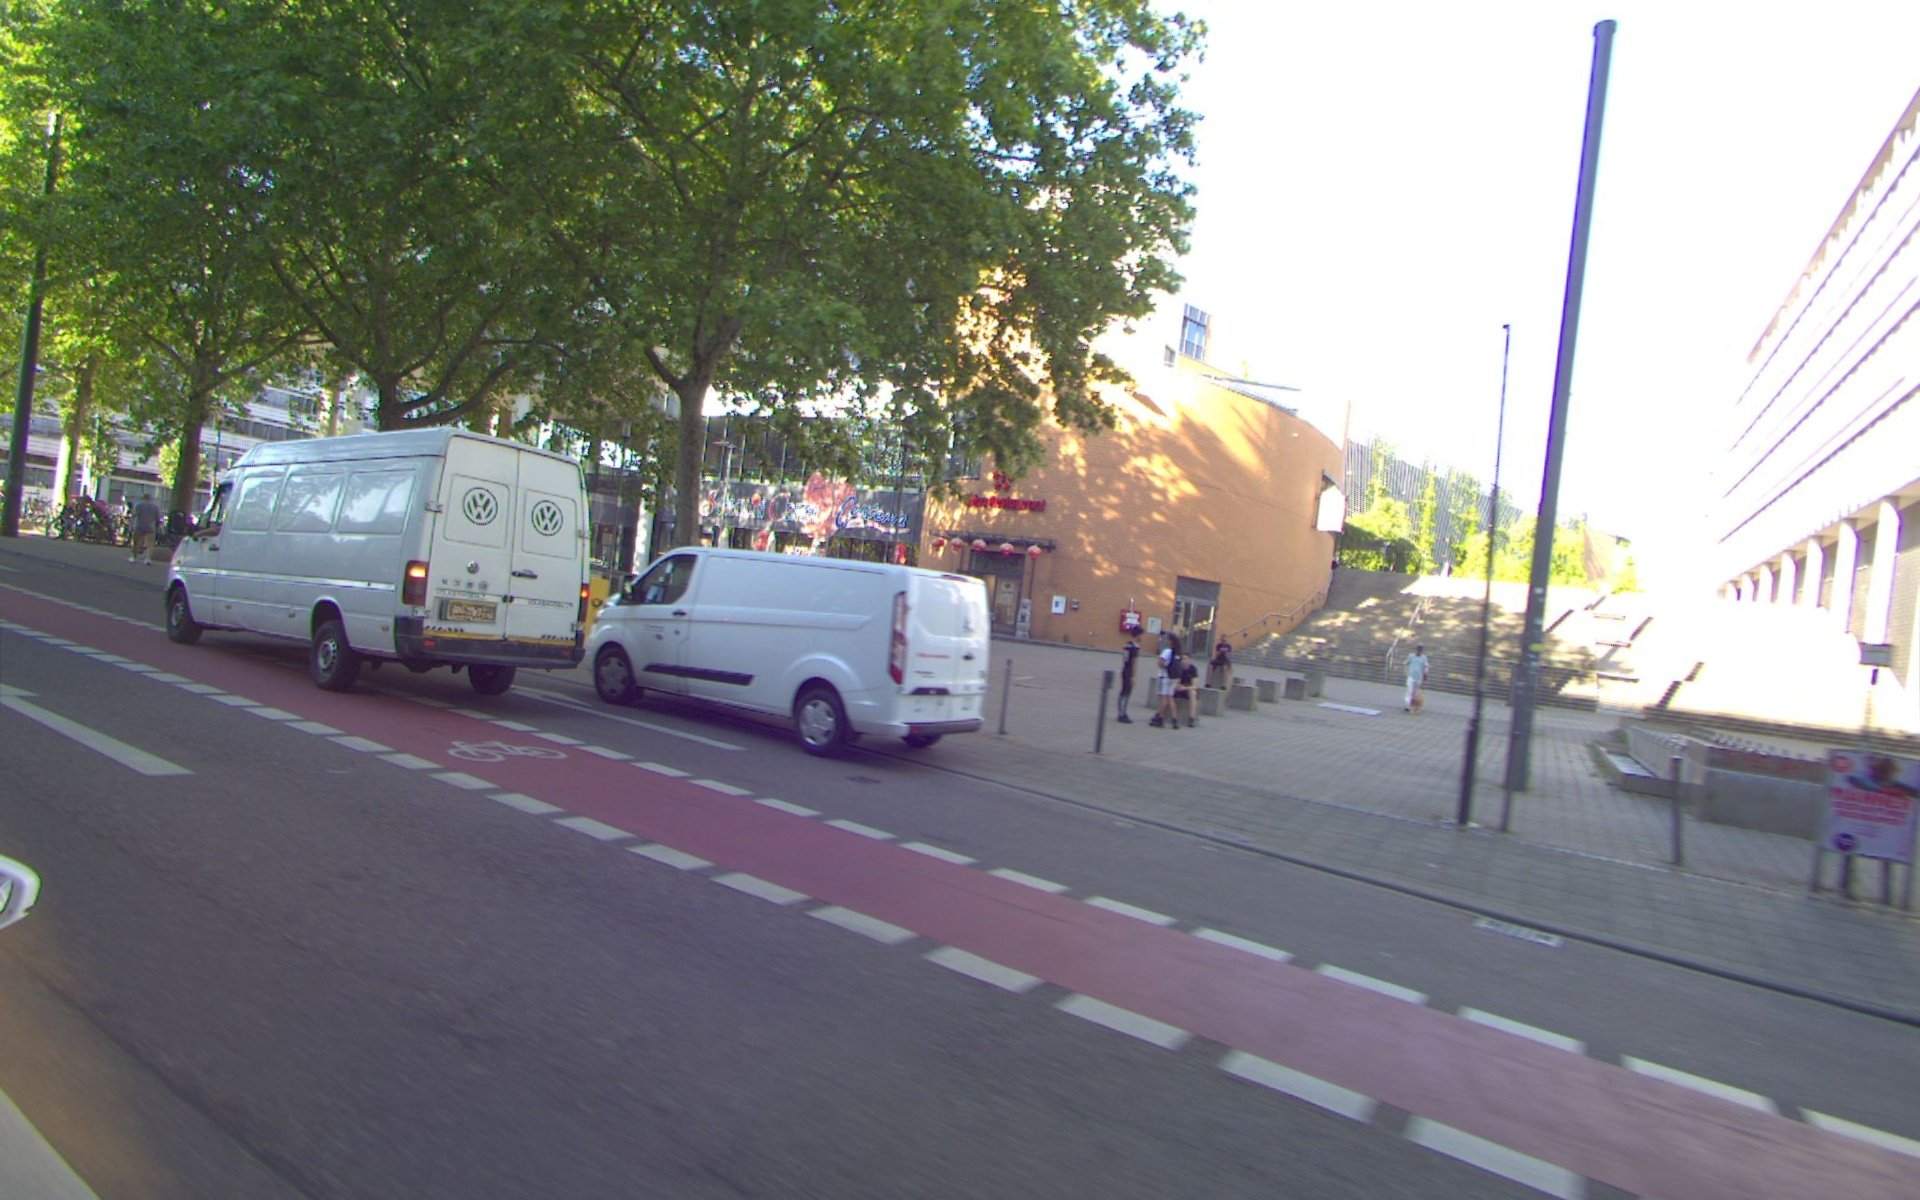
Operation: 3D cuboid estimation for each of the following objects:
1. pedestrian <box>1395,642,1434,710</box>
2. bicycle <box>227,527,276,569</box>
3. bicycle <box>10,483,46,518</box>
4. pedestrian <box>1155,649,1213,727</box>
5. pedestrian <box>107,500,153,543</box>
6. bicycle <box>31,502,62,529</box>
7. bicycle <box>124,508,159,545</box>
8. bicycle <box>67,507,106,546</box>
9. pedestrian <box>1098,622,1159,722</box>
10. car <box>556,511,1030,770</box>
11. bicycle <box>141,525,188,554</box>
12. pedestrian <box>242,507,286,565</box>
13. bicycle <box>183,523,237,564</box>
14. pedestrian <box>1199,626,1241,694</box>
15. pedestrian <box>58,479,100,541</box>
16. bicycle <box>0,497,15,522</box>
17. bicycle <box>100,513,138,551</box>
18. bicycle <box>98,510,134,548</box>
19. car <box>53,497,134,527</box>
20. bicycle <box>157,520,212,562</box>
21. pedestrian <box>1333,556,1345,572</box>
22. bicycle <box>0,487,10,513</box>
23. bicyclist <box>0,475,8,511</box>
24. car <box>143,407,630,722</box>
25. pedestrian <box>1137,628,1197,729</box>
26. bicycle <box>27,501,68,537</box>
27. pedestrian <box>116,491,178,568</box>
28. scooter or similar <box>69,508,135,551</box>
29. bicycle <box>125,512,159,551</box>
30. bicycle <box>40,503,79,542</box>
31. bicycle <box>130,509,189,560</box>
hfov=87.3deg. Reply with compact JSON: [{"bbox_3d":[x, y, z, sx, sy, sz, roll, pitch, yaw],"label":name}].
[{"bbox_3d":[12.002,1.999,26.572,0.711,1.697,0.539,7,1,31],"label":"pedestrian"},{"bbox_3d":[-22.305,-1.635,31.658,1.626,1.151,0.503,7,1,28],"label":"bicycle"},{"bbox_3d":[-39.863,-4.254,43.022,1.854,1.303,0.451,7,1,27],"label":"bicycle"},{"bbox_3d":[3.894,1.524,17.462,0.666,1.236,0.614,7,1,35],"label":"pedestrian"},{"bbox_3d":[-40.865,-3.859,49.549,1.023,1.843,1.213,7,-1,23],"label":"pedestrian"},{"bbox_3d":[-39.568,-3.651,43.554,1.450,0.995,0.451,7,1,27],"label":"bicycle"},{"bbox_3d":[-29.760,-2.669,36.577,1.451,1.174,0.421,7,1,29],"label":"bicycle"},{"bbox_3d":[-27.514,-2.317,31.700,0.591,1.130,1.931,6,0,-34],"label":"bicycle"},{"bbox_3d":[2.800,1.194,16.725,0.628,1.562,0.576,8,1,38],"label":"pedestrian"},{"bbox_3d":[-2.077,0.333,11.698,5.204,2.160,2.125,7,0,33],"label":"car"},{"bbox_3d":[-25.411,-1.927,32.153,1.102,0.770,0.396,7,0,-34],"label":"bicycle"},{"bbox_3d":[-23.117,-2.125,33.404,0.758,1.779,0.818,7,1,30],"label":"pedestrian"},{"bbox_3d":[-22.793,-1.709,30.576,1.626,1.044,0.596,7,1,28],"label":"bicycle"},{"bbox_3d":[5.927,1.372,22.924,0.590,1.474,0.712,7,1,31],"label":"pedestrian"},{"bbox_3d":[-27.722,-2.821,31.658,0.801,1.808,0.651,6,1,-35],"label":"pedestrian"},{"bbox_3d":[-40.472,-3.849,42.362,1.450,0.995,0.451,7,1,27],"label":"bicycle"},{"bbox_3d":[-30.003,-2.433,35.894,1.450,1.174,0.421,7,1,27],"label":"bicycle"},{"bbox_3d":[-26.928,-2.269,32.113,0.591,1.130,1.809,6,0,-34],"label":"bicycle"},{"bbox_3d":[-65.667,-6.658,76.312,1.767,1.579,4.243,7,0,34],"label":"car"},{"bbox_3d":[-23.107,-1.753,29.970,1.626,1.044,0.596,7,1,28],"label":"bicycle"},{"bbox_3d":[21.808,-2.079,57.854,0.508,0.834,0.437,7,5,25],"label":"pedestrian"},{"bbox_3d":[-44.430,-4.674,46.350,1.750,1.140,0.566,7,1,35],"label":"bicycle"},{"bbox_3d":[-44.426,-4.976,46.367,0.808,1.636,0.562,7,1,35],"label":"bicyclist"},{"bbox_3d":[-6.781,-0.515,11.461,6.458,2.756,1.996,7,-1,35],"label":"car"},{"bbox_3d":[3.365,1.276,16.384,0.626,1.542,0.515,8,1,38],"label":"pedestrian"},{"bbox_3d":[-30.824,-2.736,33.986,1.547,1.070,0.628,7,1,35],"label":"bicycle"},{"bbox_3d":[-20.537,-1.774,25.418,0.795,1.808,0.873,7,1,30],"label":"pedestrian"},{"bbox_3d":[-28.468,-2.338,33.392,0.899,1.154,1.260,6,-4,15],"label":"scooter or similar"},{"bbox_3d":[-26.414,-2.211,32.500,0.602,1.130,1.809,6,0,-34],"label":"bicycle"},{"bbox_3d":[-28.333,-2.437,31.671,0.591,1.130,1.809,6,0,-34],"label":"bicycle"},{"bbox_3d":[-23.373,-1.920,29.361,1.844,1.280,0.596,7,1,28],"label":"bicycle"}]
